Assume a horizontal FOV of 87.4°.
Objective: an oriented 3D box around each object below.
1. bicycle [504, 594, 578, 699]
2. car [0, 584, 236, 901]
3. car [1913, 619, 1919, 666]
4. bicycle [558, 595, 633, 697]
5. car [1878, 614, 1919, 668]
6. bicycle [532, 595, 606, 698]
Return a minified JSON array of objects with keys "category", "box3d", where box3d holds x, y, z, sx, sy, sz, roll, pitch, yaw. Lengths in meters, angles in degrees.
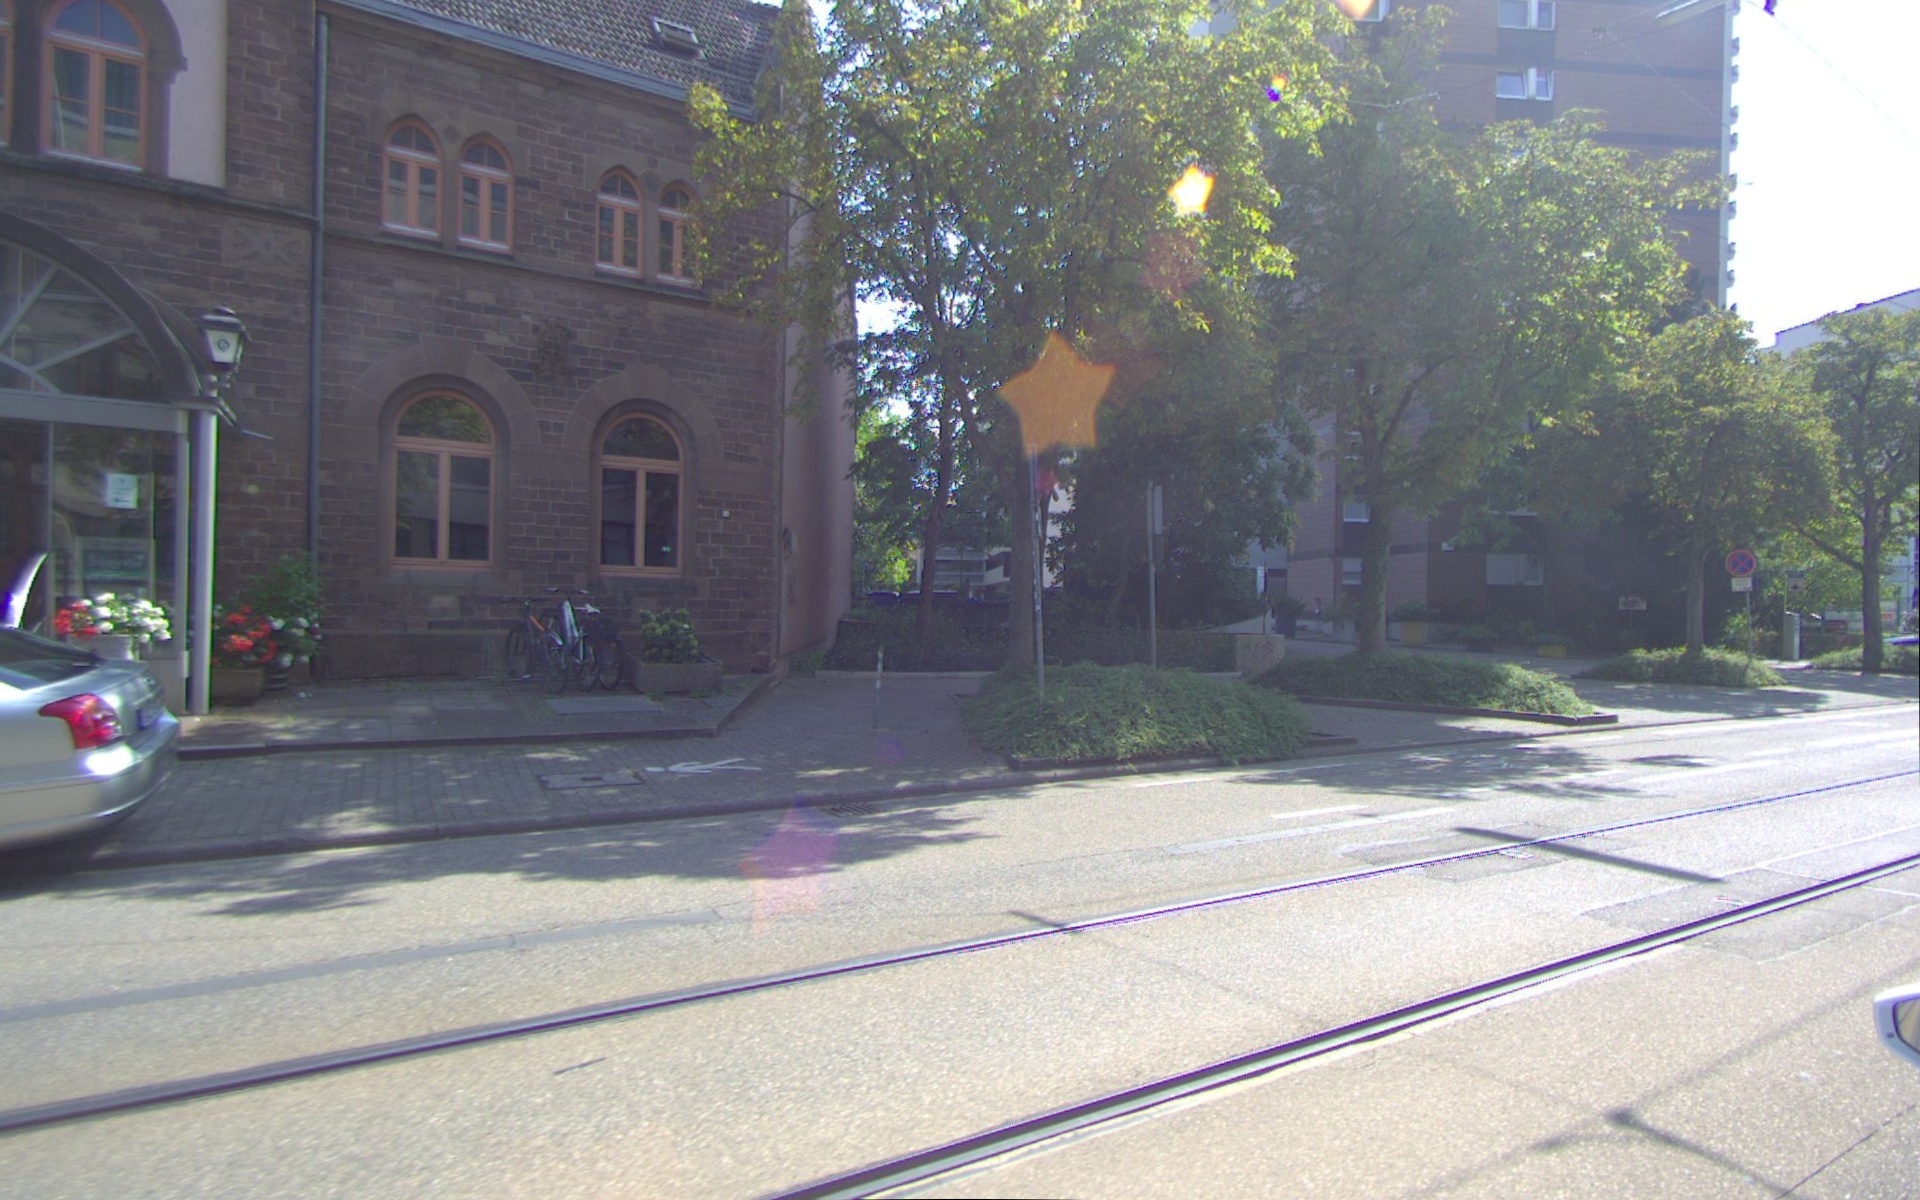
[{"category":"bicycle","box3d":[-5.067,0.534,12.105,0.374,1.076,1.432,1,5,-40]},{"category":"car","box3d":[-6.604,0.679,5.129,4.458,1.522,1.926,1,2,-29]},{"category":"car","box3d":[34.075,1.475,32.841,3.931,1.591,1.776,1,0,33]},{"category":"bicycle","box3d":[-4.569,0.545,12.542,0.374,1.076,1.432,1,5,-40]},{"category":"car","box3d":[31.523,1.334,31.413,3.936,1.670,1.835,1,0,37]},{"category":"bicycle","box3d":[-4.817,0.540,12.321,0.374,1.076,1.432,1,5,-40]}]
